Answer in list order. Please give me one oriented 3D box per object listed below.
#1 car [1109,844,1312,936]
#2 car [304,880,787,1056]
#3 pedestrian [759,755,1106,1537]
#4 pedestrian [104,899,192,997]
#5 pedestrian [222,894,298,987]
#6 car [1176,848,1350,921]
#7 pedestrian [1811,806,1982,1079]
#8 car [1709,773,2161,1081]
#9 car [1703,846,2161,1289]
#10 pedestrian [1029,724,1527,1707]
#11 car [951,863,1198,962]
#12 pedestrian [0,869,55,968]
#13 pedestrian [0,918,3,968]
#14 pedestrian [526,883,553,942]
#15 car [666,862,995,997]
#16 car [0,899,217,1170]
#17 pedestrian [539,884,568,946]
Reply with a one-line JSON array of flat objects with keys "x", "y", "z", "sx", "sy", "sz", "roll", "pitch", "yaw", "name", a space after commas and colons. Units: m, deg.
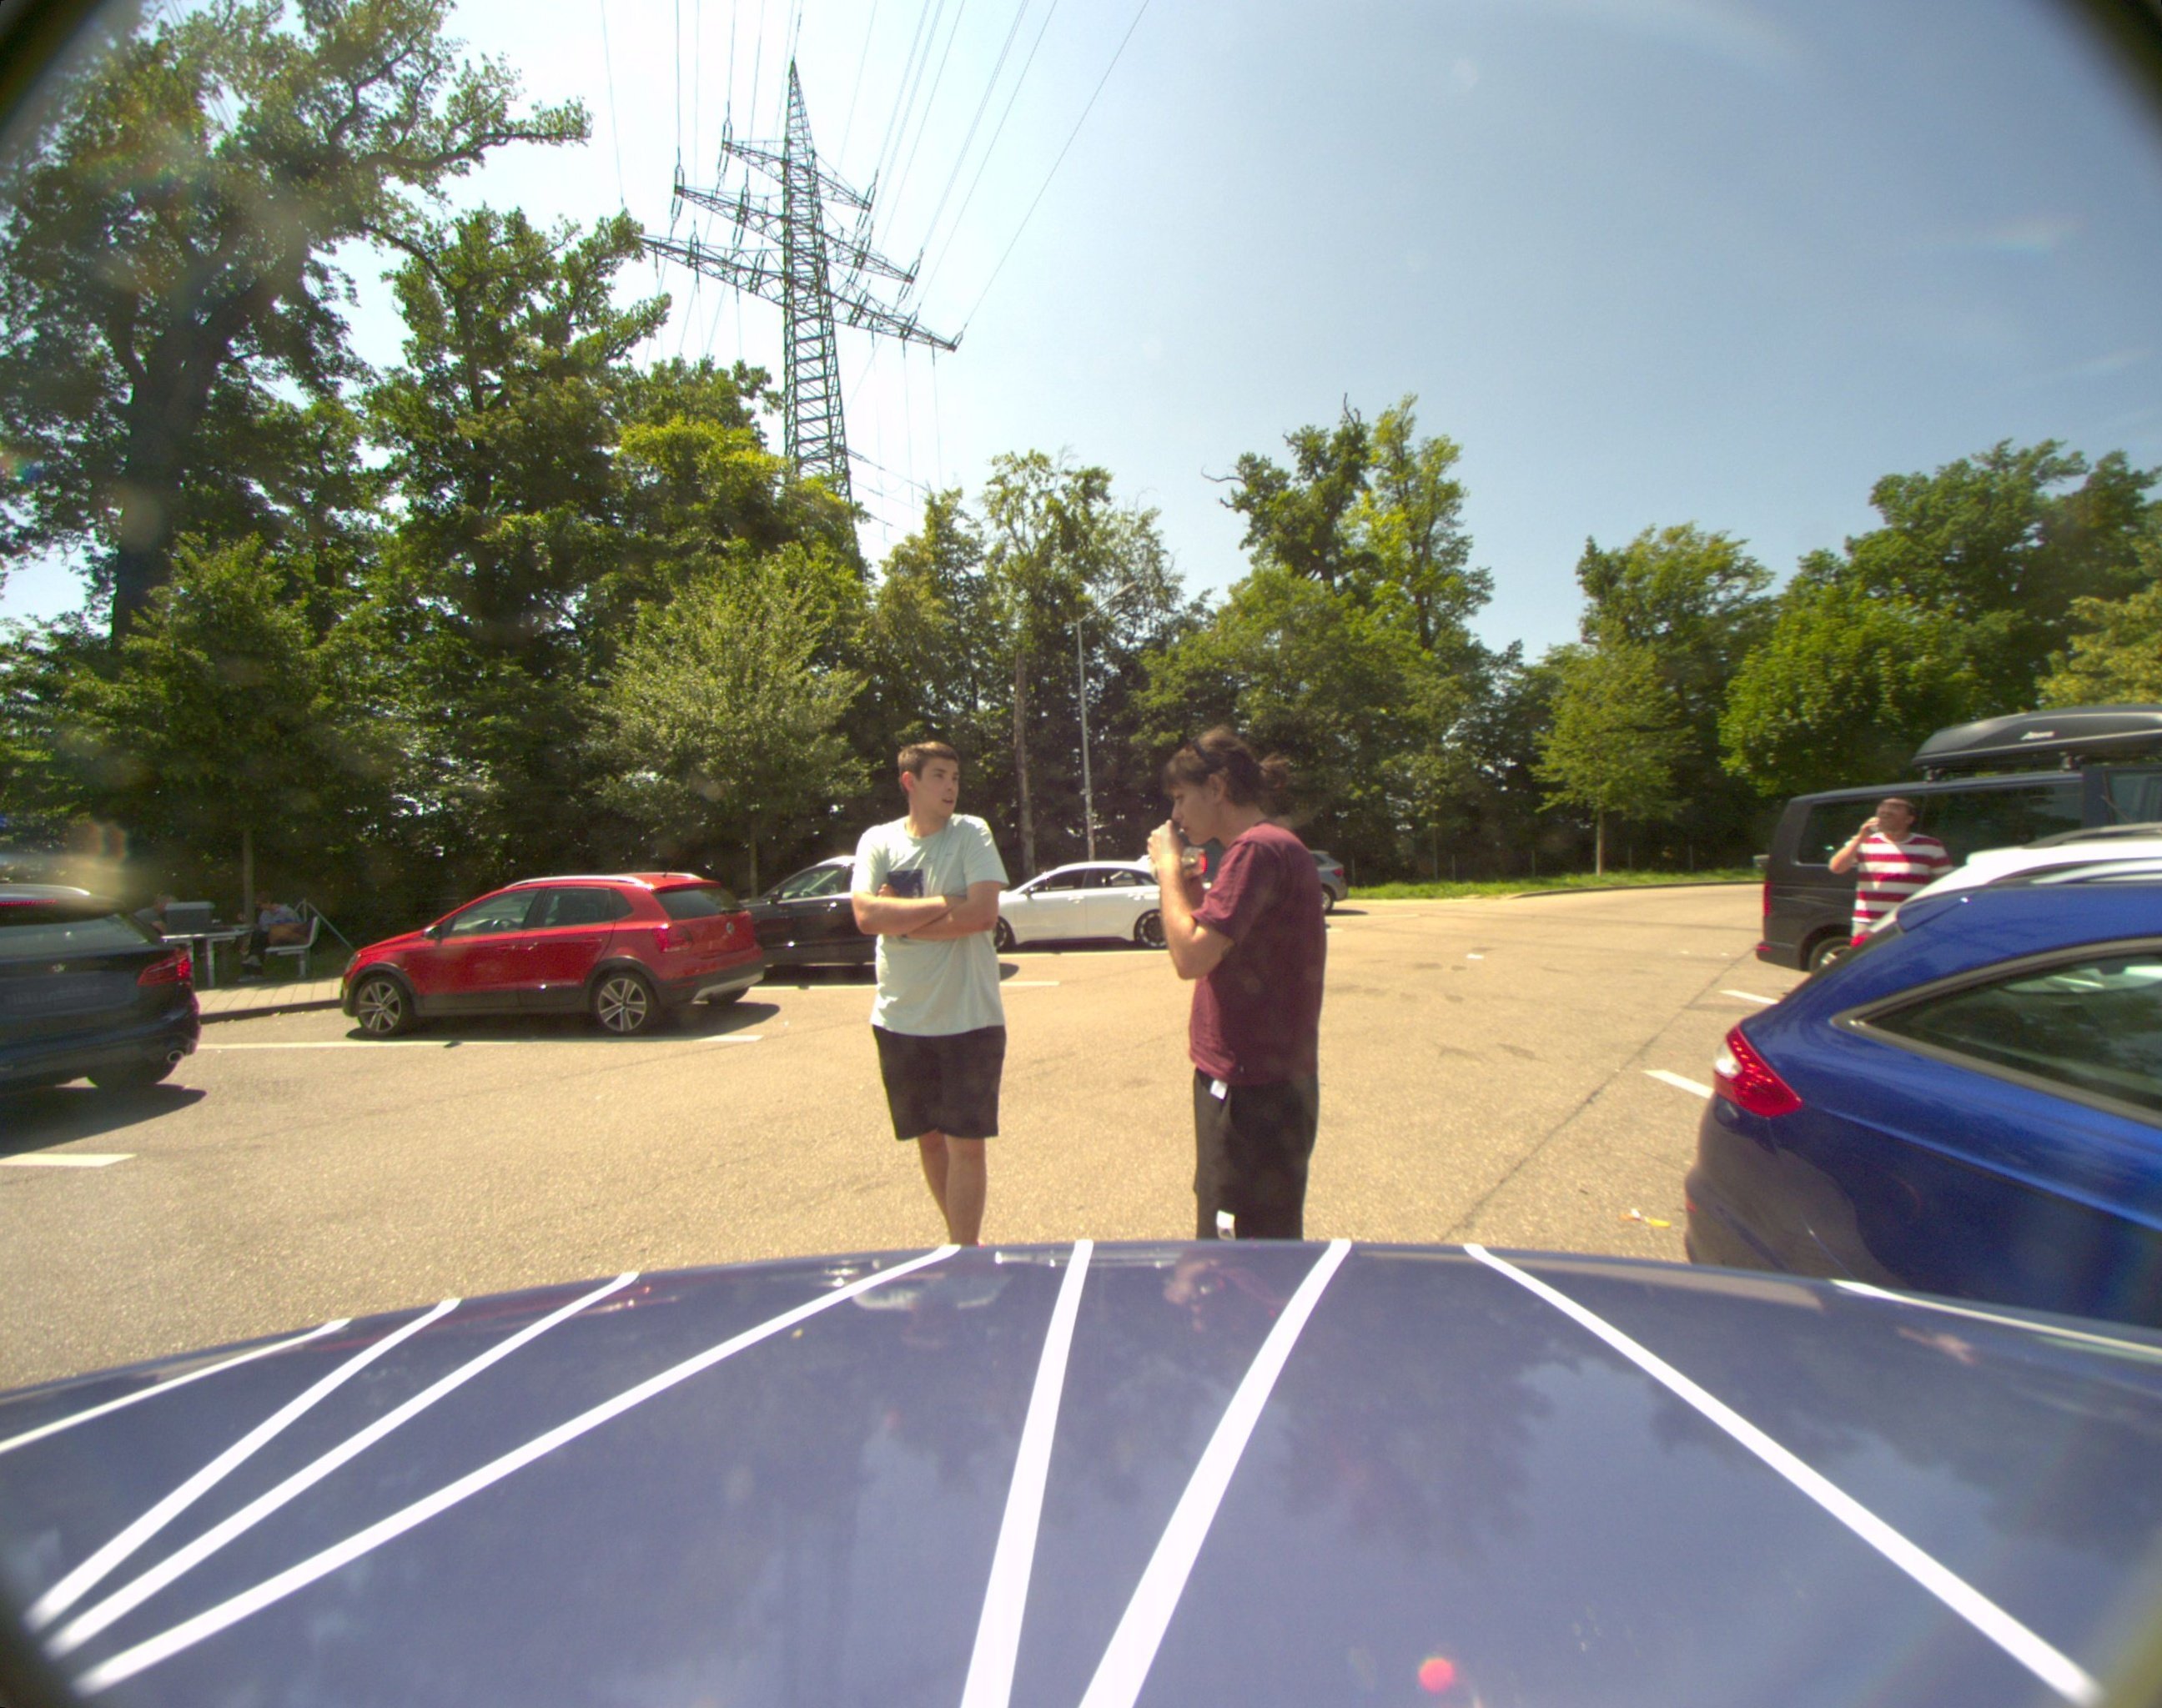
[{"x": 2.618, "y": 0.712, "z": 15.455, "sx": 3.822, "sy": 1.686, "sz": 1.652, "roll": -2, "pitch": 1, "yaw": 12, "name": "car"}, {"x": -5.220, "y": 1.088, "z": 7.669, "sx": 3.823, "sy": 1.460, "sz": 1.651, "roll": -2, "pitch": 1, "yaw": 8, "name": "car"}, {"x": -0.489, "y": 0.714, "z": 2.426, "sx": 0.814, "sy": 1.939, "sz": 0.919, "roll": -3, "pitch": 1, "yaw": -17, "name": "pedestrian"}, {"x": -12.717, "y": 1.267, "z": 10.371, "sx": 0.595, "sy": 1.238, "sz": 0.446, "roll": -3, "pitch": 1, "yaw": -33, "name": "pedestrian"}, {"x": -11.850, "y": 1.227, "z": 10.985, "sx": 0.595, "sy": 1.238, "sz": 0.499, "roll": -3, "pitch": 1, "yaw": -33, "name": "pedestrian"}, {"x": 4.278, "y": 0.709, "z": 18.150, "sx": 3.822, "sy": 1.551, "sz": 1.652, "roll": -2, "pitch": 1, "yaw": 12, "name": "car"}, {"x": 5.772, "y": 0.558, "z": 5.381, "sx": 0.786, "sy": 1.744, "sz": 0.753, "roll": -3, "pitch": 1, "yaw": -38, "name": "pedestrian"}, {"x": 7.386, "y": 0.416, "z": 5.282, "sx": 1.758, "sy": 1.886, "sz": 4.571, "roll": -3, "pitch": -1, "yaw": -9, "name": "car"}, {"x": 4.658, "y": 0.729, "z": 2.251, "sx": 1.757, "sy": 1.496, "sz": 4.574, "roll": -3, "pitch": -1, "yaw": -1, "name": "car"}, {"x": 0.479, "y": 0.715, "z": 1.928, "sx": 0.919, "sy": 1.894, "sz": 0.815, "roll": -2, "pitch": 1, "yaw": 16, "name": "pedestrian"}, {"x": -0.063, "y": 0.933, "z": 12.672, "sx": 3.825, "sy": 1.394, "sz": 1.651, "roll": -2, "pitch": 1, "yaw": 4, "name": "car"}, {"x": -17.819, "y": 1.059, "z": 12.670, "sx": 0.573, "sy": 1.596, "sz": 0.646, "roll": -3, "pitch": 1, "yaw": -30, "name": "pedestrian"}, {"x": -17.602, "y": 1.060, "z": 11.887, "sx": 0.573, "sy": 1.596, "sz": 0.646, "roll": -3, "pitch": 1, "yaw": -30, "name": "pedestrian"}, {"x": -10.997, "y": 1.185, "z": 15.437, "sx": 0.357, "sy": 1.158, "sz": 0.384, "roll": -3, "pitch": 2, "yaw": -41, "name": "pedestrian"}, {"x": -3.238, "y": 0.961, "z": 10.298, "sx": 3.825, "sy": 1.546, "sz": 1.651, "roll": -2, "pitch": 1, "yaw": 4, "name": "car"}, {"x": -8.566, "y": 1.156, "z": 4.934, "sx": 4.338, "sy": 1.544, "sz": 1.749, "roll": -1, "pitch": 1, "yaw": 8, "name": "car"}, {"x": -10.153, "y": 1.162, "z": 14.622, "sx": 0.357, "sy": 1.158, "sz": 0.384, "roll": -3, "pitch": 2, "yaw": -41, "name": "pedestrian"}]
